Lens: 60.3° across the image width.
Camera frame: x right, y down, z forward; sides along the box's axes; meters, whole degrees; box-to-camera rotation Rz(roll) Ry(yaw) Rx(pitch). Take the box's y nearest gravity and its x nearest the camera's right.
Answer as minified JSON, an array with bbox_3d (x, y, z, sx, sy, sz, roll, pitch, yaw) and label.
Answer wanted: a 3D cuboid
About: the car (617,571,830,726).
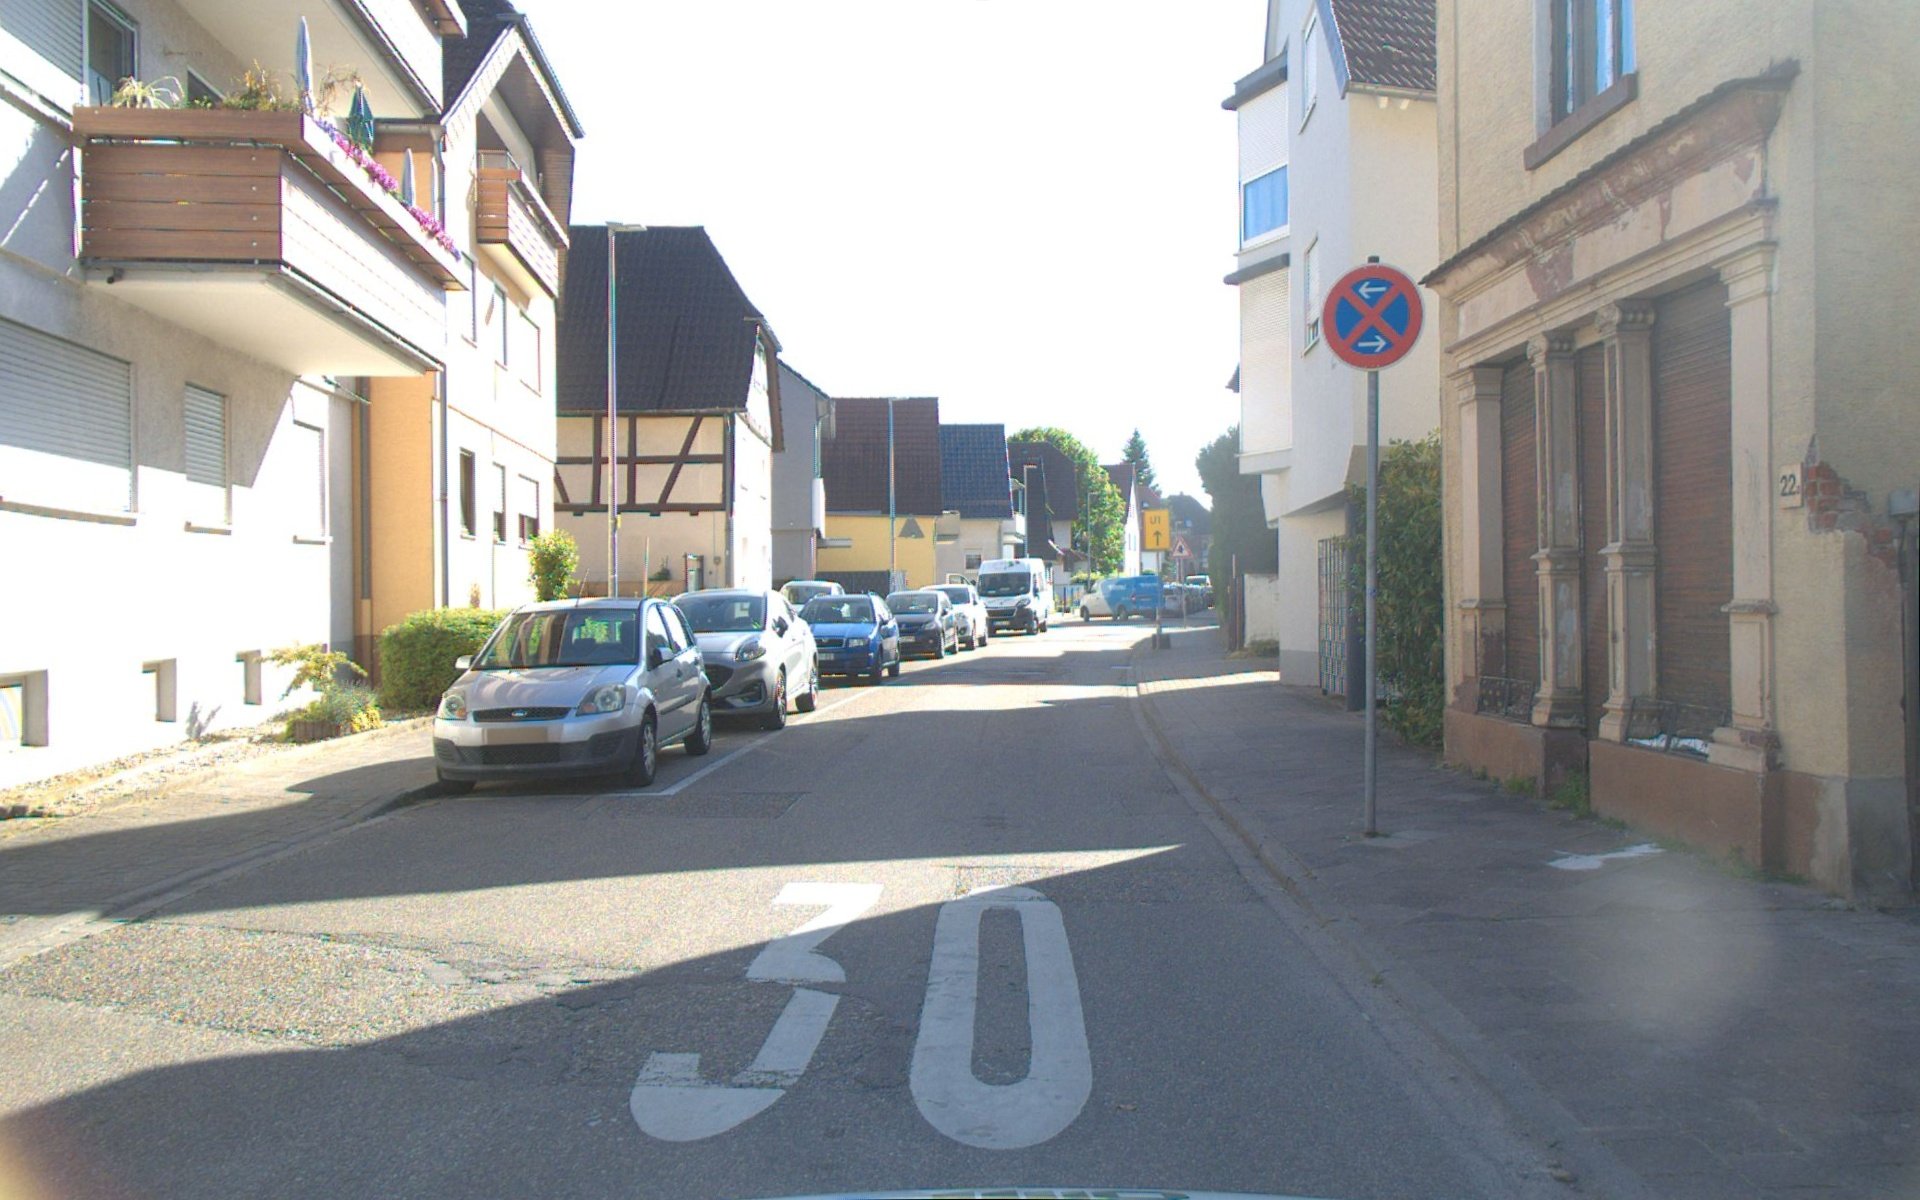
[{"bbox_3d":[-2.613,0.472,19.176,1.639,1.532,4.096,-2,1,3],"label":"car"}]

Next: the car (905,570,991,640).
[{"bbox_3d":[-0.259,0.090,42.028,1.638,1.599,3.969,-3,1,7],"label":"car"}]

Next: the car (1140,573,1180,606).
[{"bbox_3d":[9.536,-0.480,79.088,1.805,1.437,4.002,1,-1,6],"label":"car"}]

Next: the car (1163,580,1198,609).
[{"bbox_3d":[12.000,-0.280,90.169,1.805,1.437,4.002,1,-1,6],"label":"car"}]

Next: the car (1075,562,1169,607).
[{"bbox_3d":[7.174,-0.673,73.633,1.897,1.833,4.740,-4,2,-26],"label":"car"}]

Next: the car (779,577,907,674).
[{"bbox_3d":[-1.902,0.383,28.015,1.604,1.466,4.077,-2,0,3],"label":"car"}]

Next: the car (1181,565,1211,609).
[{"bbox_3d":[15.073,-0.819,105.643,1.805,2.685,4.003,1,-1,9],"label":"car"}]

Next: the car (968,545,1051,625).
[{"bbox_3d":[1.712,-0.524,54.891,2.033,2.436,5.213,-3,0,9],"label":"car"}]

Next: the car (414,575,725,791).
[{"bbox_3d":[-3.121,0.576,13.989,1.597,1.532,3.854,-1,1,1],"label":"car"}]

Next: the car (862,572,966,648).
[{"bbox_3d":[-0.982,0.189,37.638,1.667,1.545,4.125,-3,0,7],"label":"car"}]

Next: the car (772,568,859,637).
[{"bbox_3d":[-3.601,0.019,41.854,1.686,1.624,4.018,1,1,2],"label":"car"}]

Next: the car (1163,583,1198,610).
[{"bbox_3d":[12.596,-0.205,94.642,1.805,1.437,4.002,1,-1,6],"label":"car"}]

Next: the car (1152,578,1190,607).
[{"bbox_3d":[10.838,-0.371,85.165,1.805,1.437,4.002,1,-1,6],"label":"car"}]
